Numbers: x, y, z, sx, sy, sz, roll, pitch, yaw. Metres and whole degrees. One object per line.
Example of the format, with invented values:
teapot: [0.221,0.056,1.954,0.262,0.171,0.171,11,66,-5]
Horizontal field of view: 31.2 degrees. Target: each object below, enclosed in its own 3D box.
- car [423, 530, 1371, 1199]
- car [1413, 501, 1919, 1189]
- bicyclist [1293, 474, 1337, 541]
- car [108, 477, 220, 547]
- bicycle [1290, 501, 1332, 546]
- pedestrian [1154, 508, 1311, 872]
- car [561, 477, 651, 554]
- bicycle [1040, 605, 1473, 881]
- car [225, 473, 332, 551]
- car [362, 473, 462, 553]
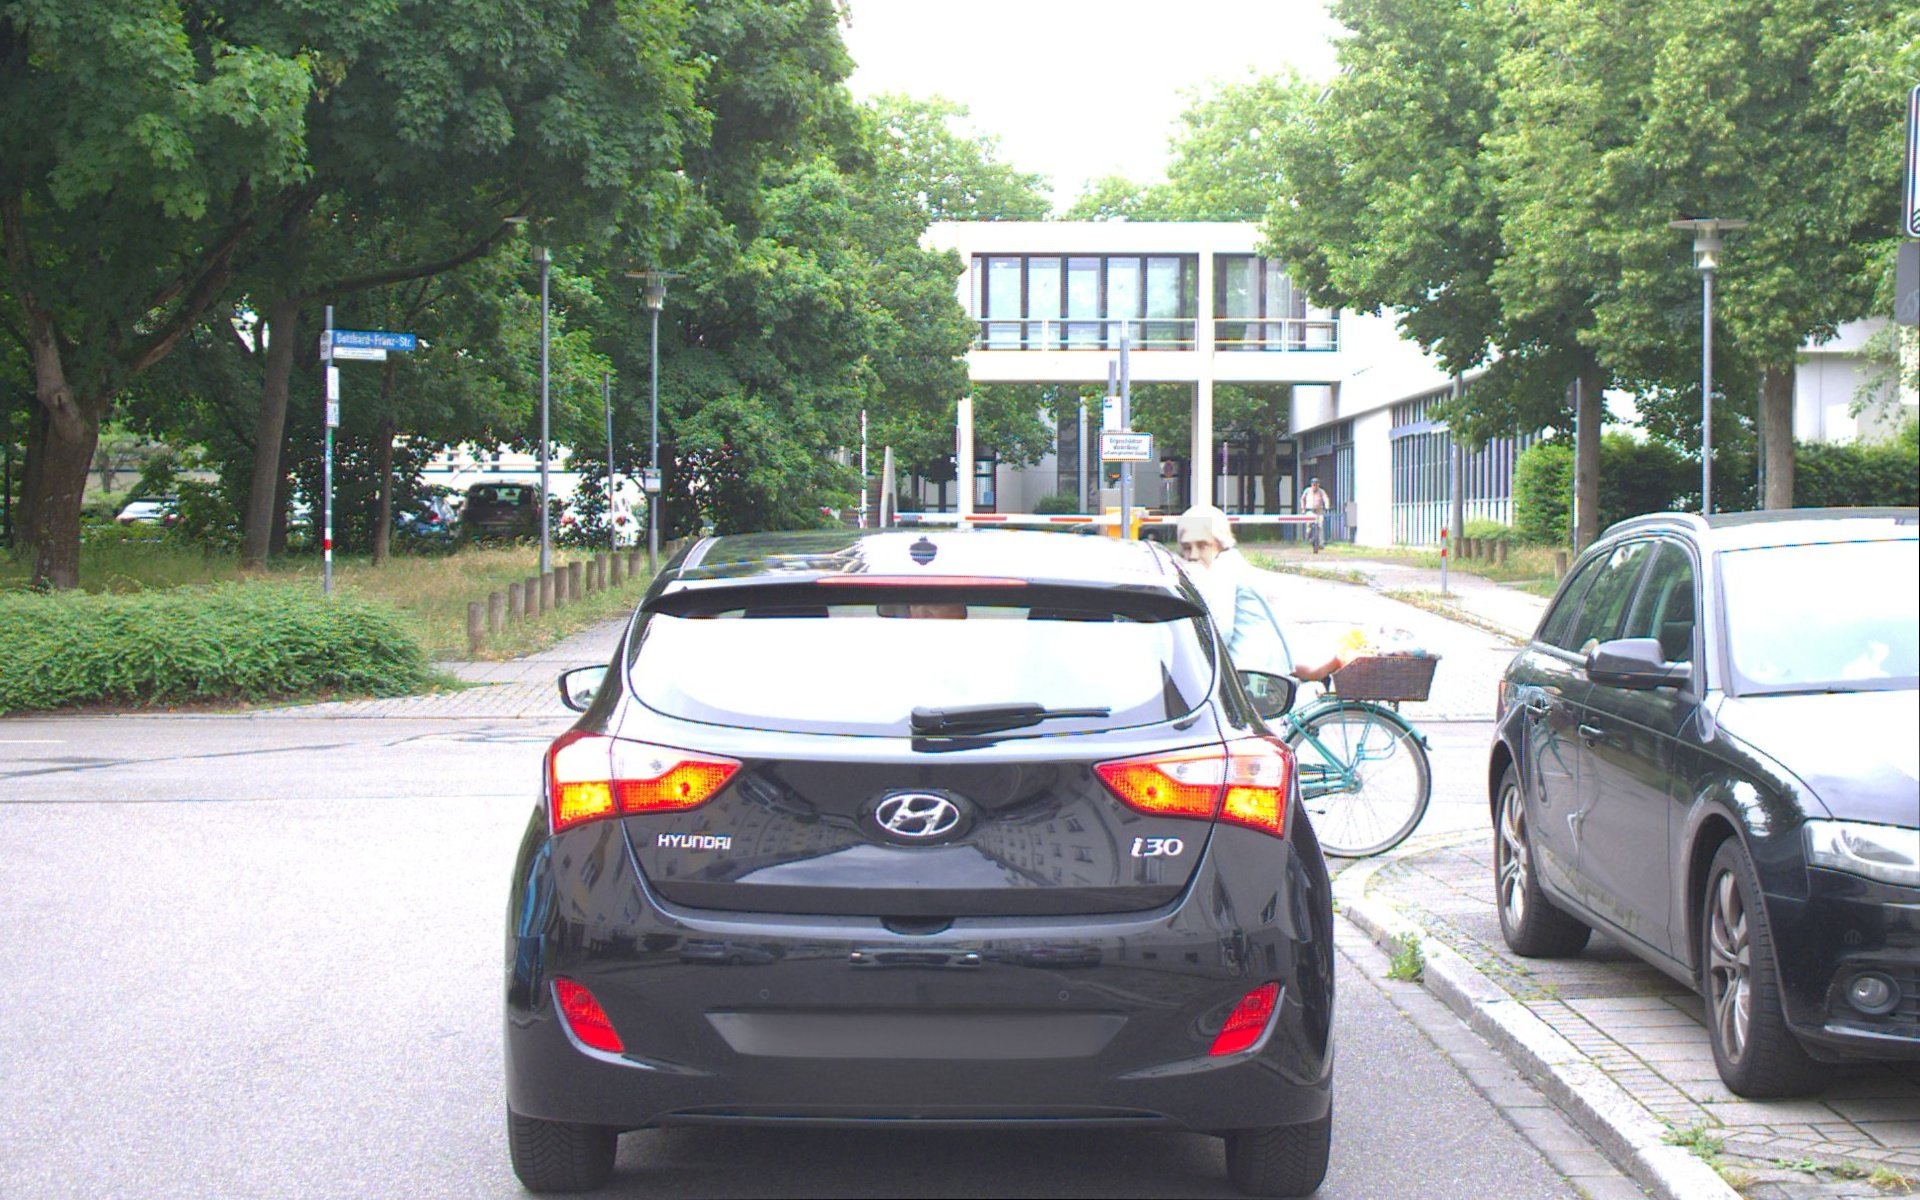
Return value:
car: [-0.202,0.564,8.645,1.846,1.457,3.828,1,1,-2]
car: [2.622,0.459,9.781,1.860,1.457,4.726,-1,2,-2]
bicyclist: [8.798,-2.298,85.226,1.017,1.639,0.923,0,2,1]
car: [-18.811,-2.090,81.387,1.993,1.612,4.001,0,2,-4]
bicycle: [8.705,-1.909,85.313,0.866,1.071,2.142,0,2,1]
pedestrian: [1.185,0.379,15.009,0.566,1.544,0.448,-2,2,-7]
car: [-8.387,-1.985,81.644,1.993,1.756,4.001,0,1,-4]
bicycle: [1.309,0.620,15.255,1.812,1.115,0.538,-2,2,-8]
car: [-16.089,-2.062,81.301,1.993,1.722,4.000,0,0,-4]
car: [-12.983,-2.035,81.611,1.993,1.788,4.000,0,0,-4]
